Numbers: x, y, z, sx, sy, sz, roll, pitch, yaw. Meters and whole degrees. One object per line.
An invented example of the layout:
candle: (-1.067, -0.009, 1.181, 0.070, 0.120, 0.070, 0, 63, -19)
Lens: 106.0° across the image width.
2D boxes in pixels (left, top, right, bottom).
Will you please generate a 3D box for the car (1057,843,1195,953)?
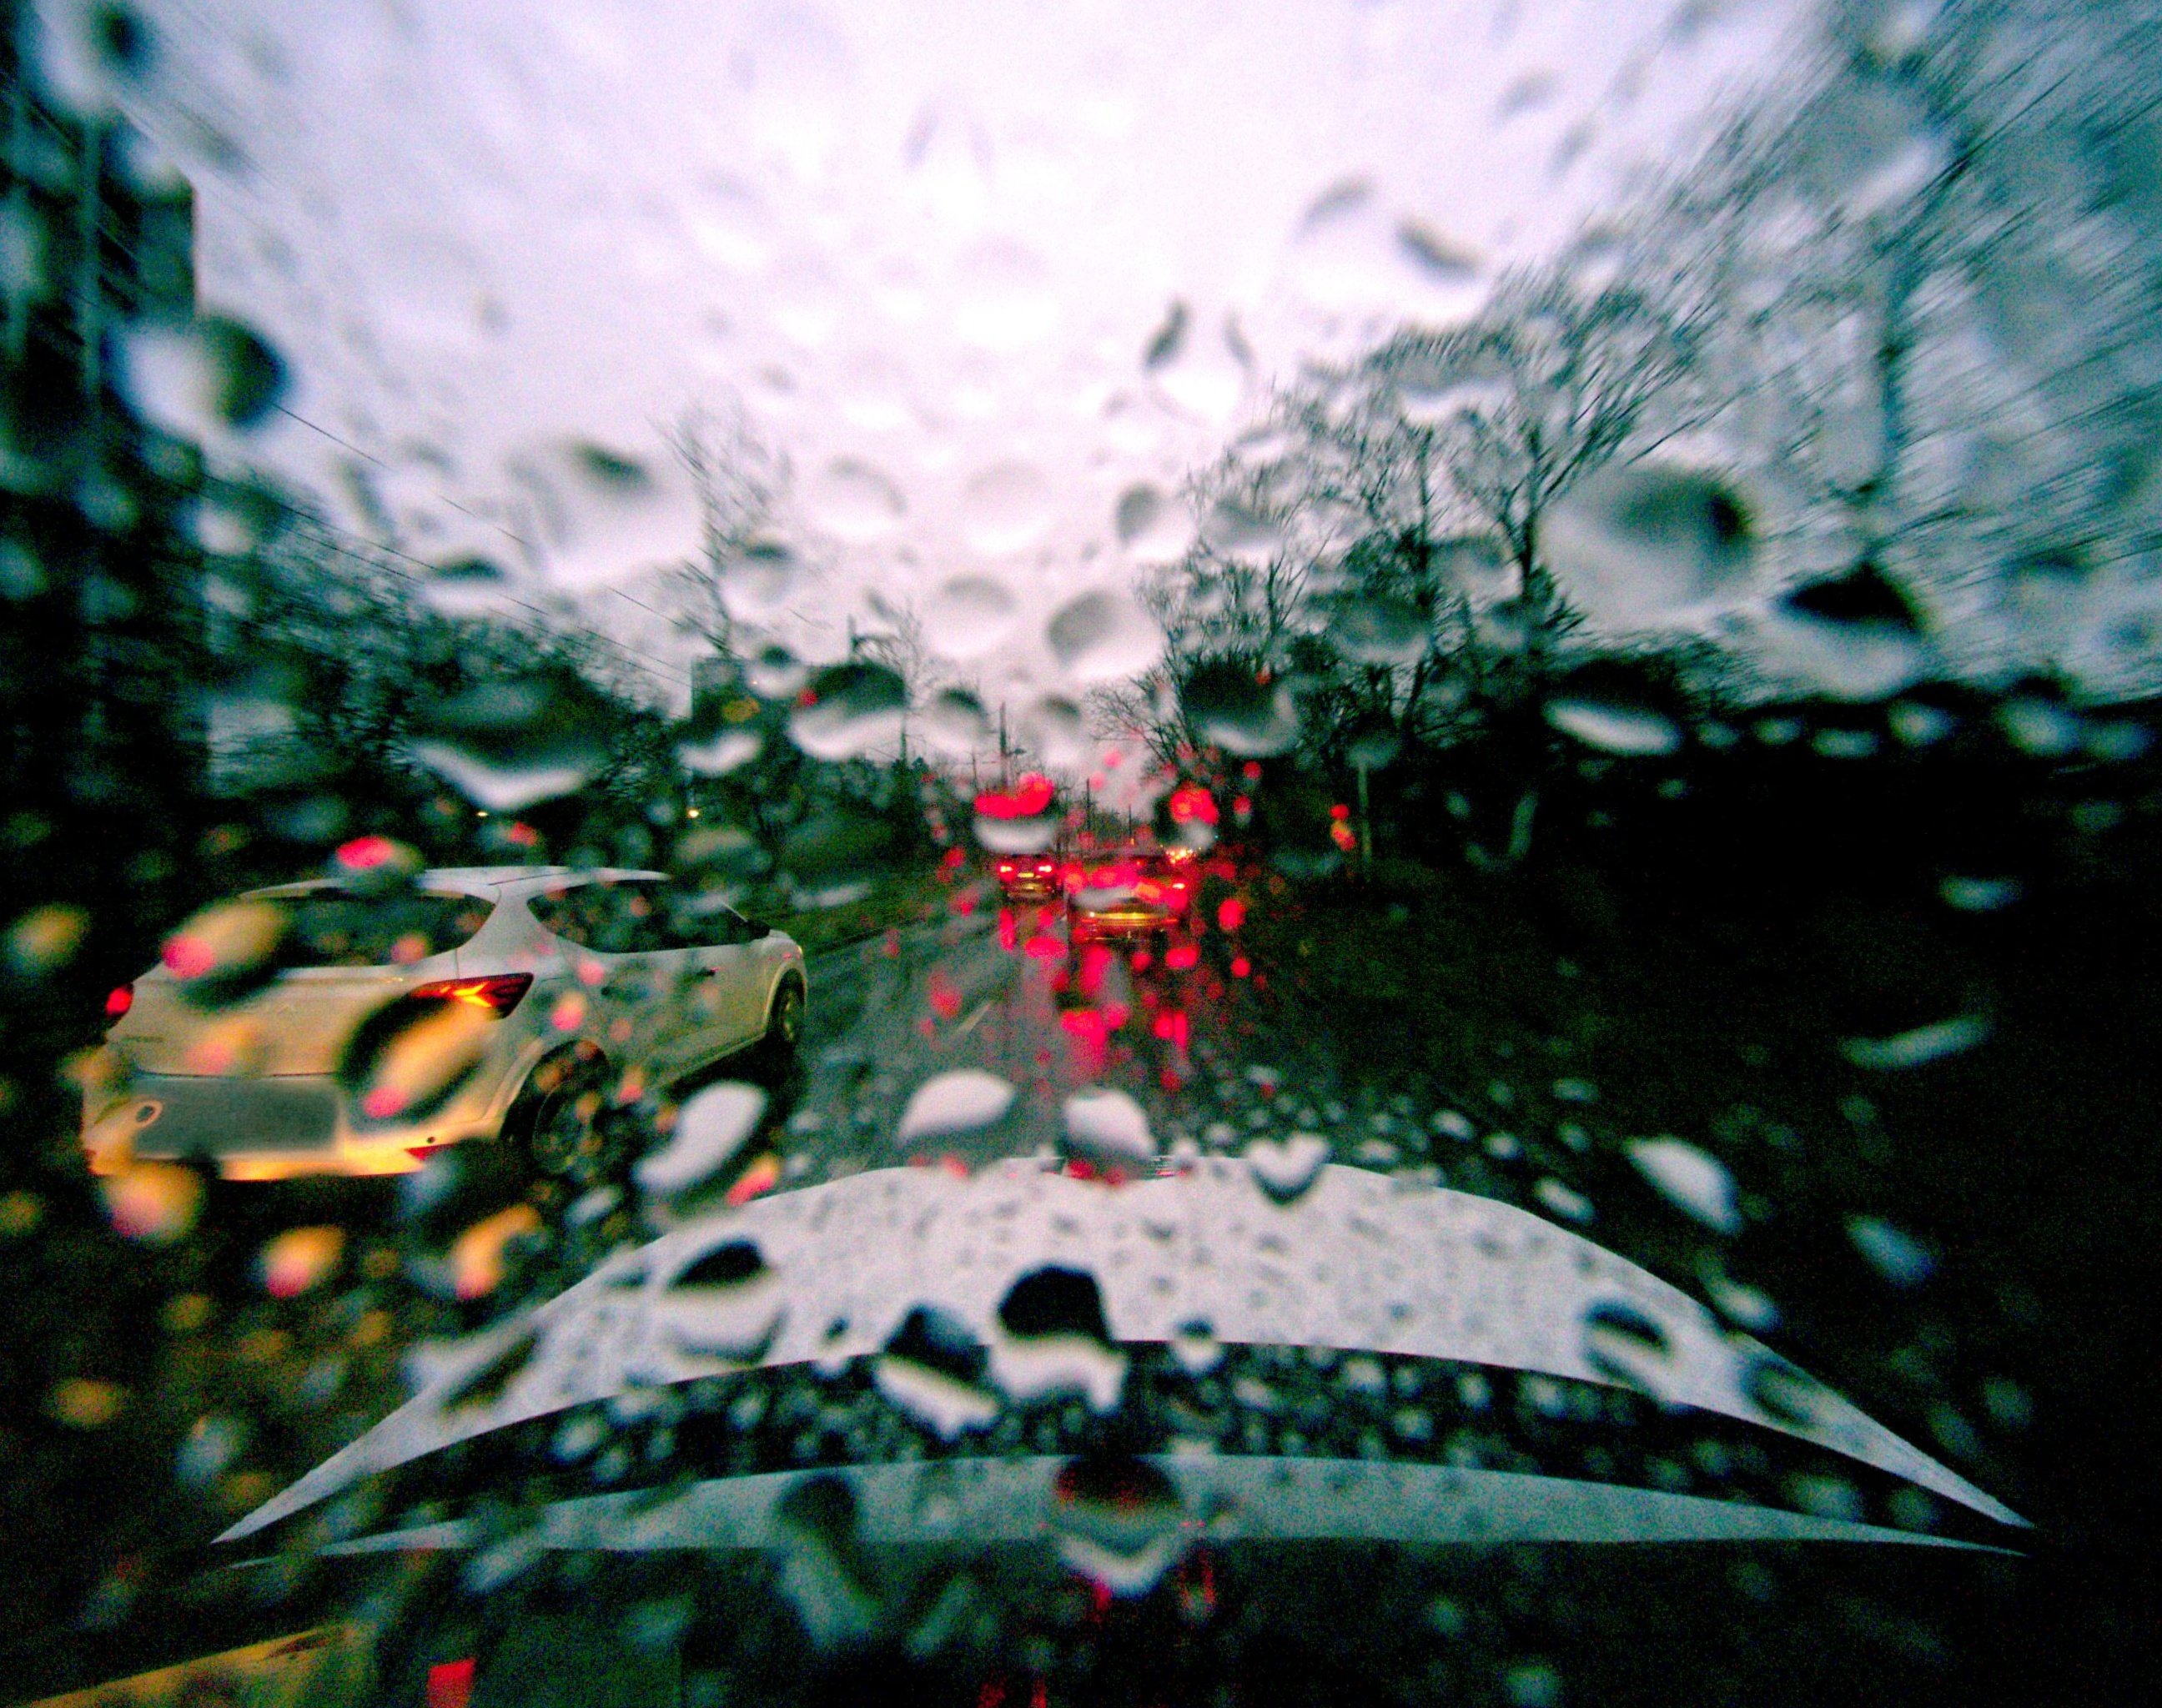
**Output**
car: (0.711, 0.621, 13.892, 1.991, 1.584, 4.001, -1, 0, 1)

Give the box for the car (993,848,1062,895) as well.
car: (-1.771, 0.558, 28.298, 1.872, 1.459, 4.003, -1, 1, 3)

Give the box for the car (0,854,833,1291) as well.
car: (-3.093, 0.784, 4.971, 1.702, 1.525, 4.137, -1, 0, 2)

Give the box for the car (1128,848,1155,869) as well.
car: (4.700, 0.351, 62.670, 1.699, 1.558, 4.006, -1, 0, 8)

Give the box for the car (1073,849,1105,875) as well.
car: (0.587, 0.522, 53.838, 1.872, 1.593, 4.004, -1, 1, 3)
